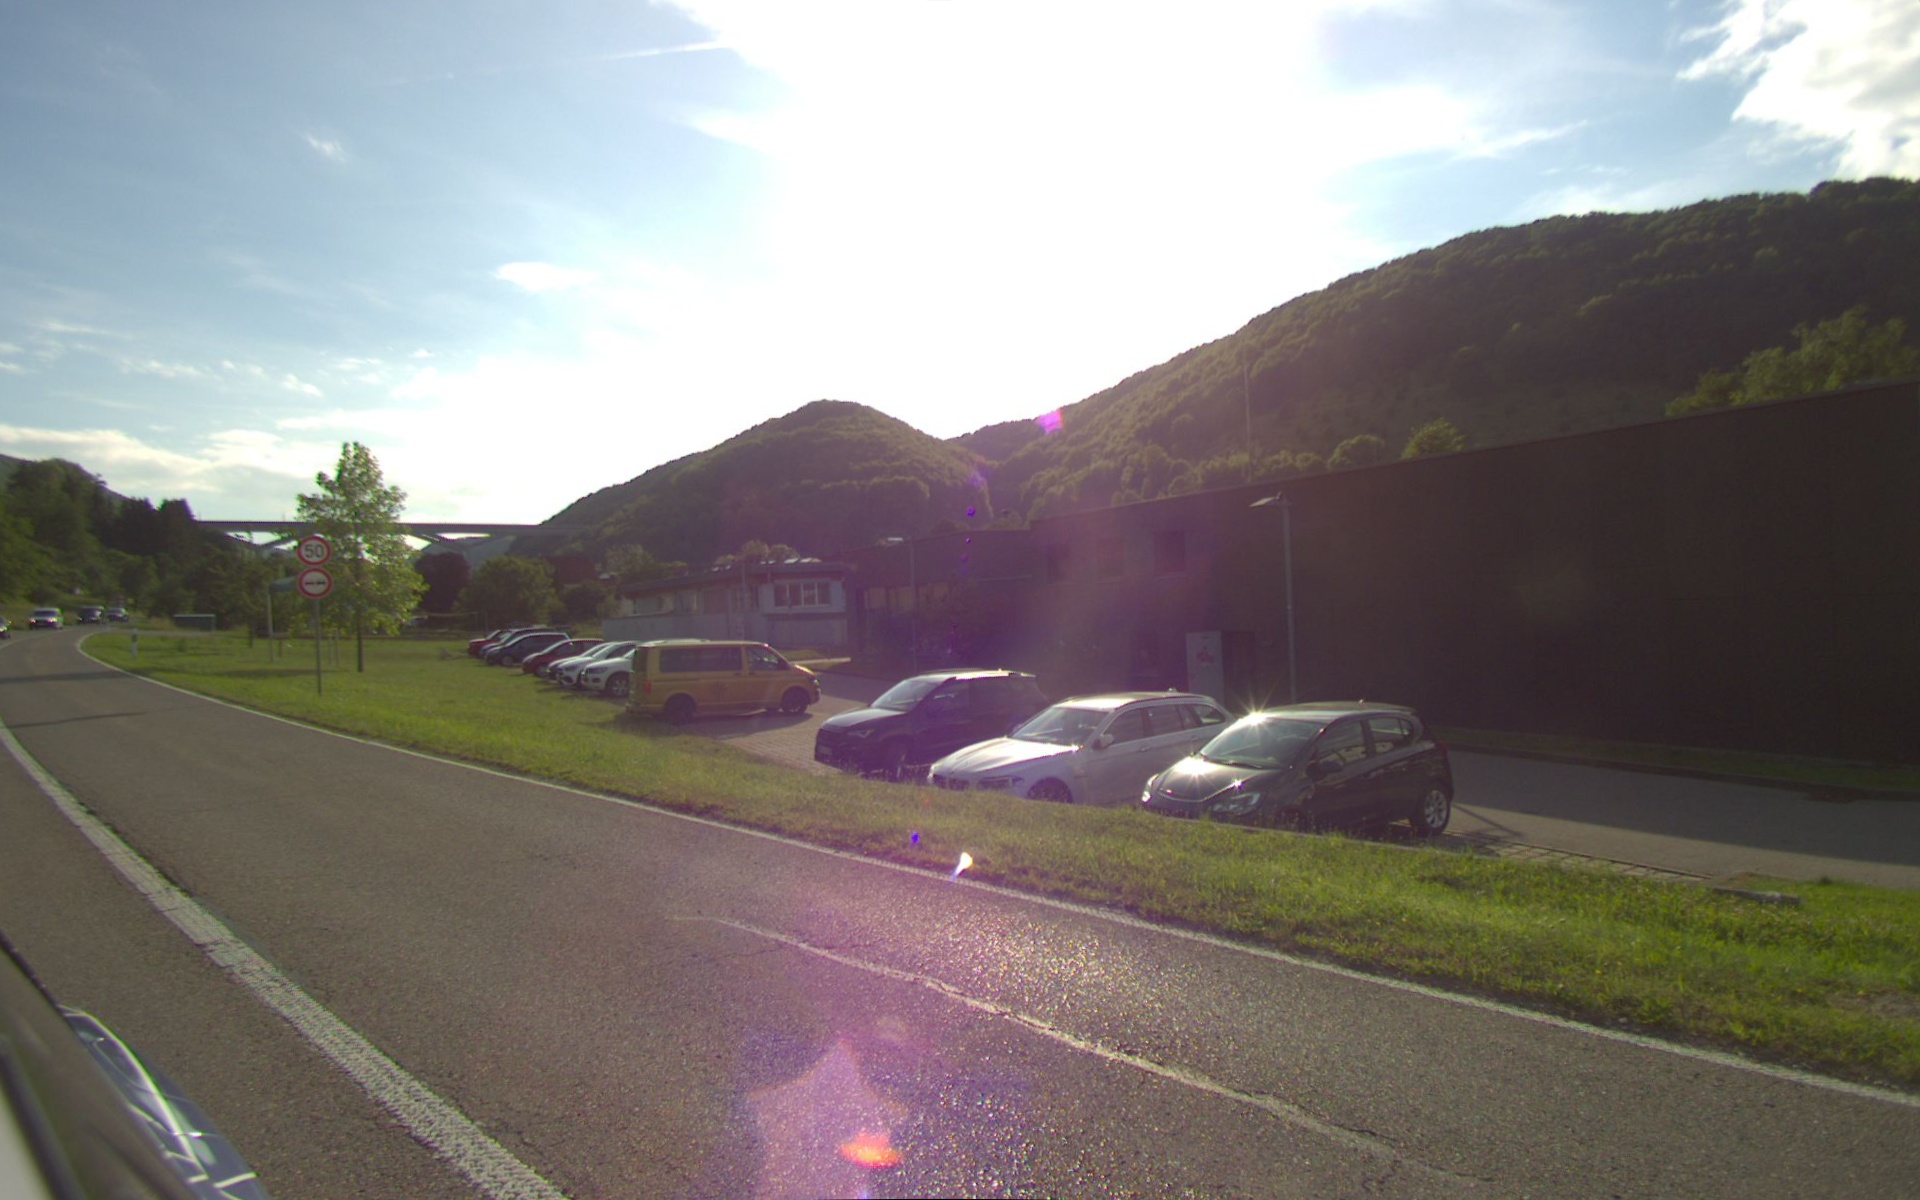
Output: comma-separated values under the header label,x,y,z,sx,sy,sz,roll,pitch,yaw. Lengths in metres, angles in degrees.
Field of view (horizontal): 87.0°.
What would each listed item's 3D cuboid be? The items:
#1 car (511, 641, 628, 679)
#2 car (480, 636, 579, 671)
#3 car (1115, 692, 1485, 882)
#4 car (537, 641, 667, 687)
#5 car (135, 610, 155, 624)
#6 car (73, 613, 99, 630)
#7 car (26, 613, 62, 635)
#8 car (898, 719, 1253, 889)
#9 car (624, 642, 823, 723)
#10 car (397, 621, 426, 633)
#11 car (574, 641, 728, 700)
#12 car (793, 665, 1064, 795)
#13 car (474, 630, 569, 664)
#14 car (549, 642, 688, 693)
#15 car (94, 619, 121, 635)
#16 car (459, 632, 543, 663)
label,x,y,z,sx,sy,sz,roll,pitch,yaw
car,-16.590,2.516,42.997,4.370,1.463,2.006,0,-2,-30
car,-21.940,2.678,51.622,4.371,1.595,2.006,-1,-1,-31
car,3.887,1.942,11.453,3.932,1.546,1.839,0,-2,-31
car,-13.712,2.397,38.848,4.371,1.595,2.006,0,-2,-32
car,-115.137,2.363,142.973,1.881,1.918,4.011,0,0,-34
car,-90.954,2.269,105.337,1.652,1.659,3.355,-1,-1,-34
car,-76.888,2.028,84.970,1.770,1.749,4.293,-1,-1,-36
car,1.627,2.550,13.537,4.577,1.508,1.918,1,-2,-34
car,-6.030,2.019,25.890,4.583,1.827,2.006,0,-2,-30
car,-69.851,3.430,128.913,1.967,1.539,4.784,0,-1,-11
car,-10.064,2.251,33.009,4.477,1.714,2.006,0,-2,-30
car,-0.475,2.091,17.246,4.226,1.650,1.917,-2,-1,-35
car,-24.185,2.556,55.894,4.595,1.776,2.006,0,-2,-31
car,-12.086,2.347,35.880,4.370,1.599,2.006,0,-2,-30
car,-99.411,3.164,118.067,1.967,1.730,4.009,-3,-2,-35
car,-27.291,2.794,60.230,4.371,1.733,2.006,0,-2,-31
